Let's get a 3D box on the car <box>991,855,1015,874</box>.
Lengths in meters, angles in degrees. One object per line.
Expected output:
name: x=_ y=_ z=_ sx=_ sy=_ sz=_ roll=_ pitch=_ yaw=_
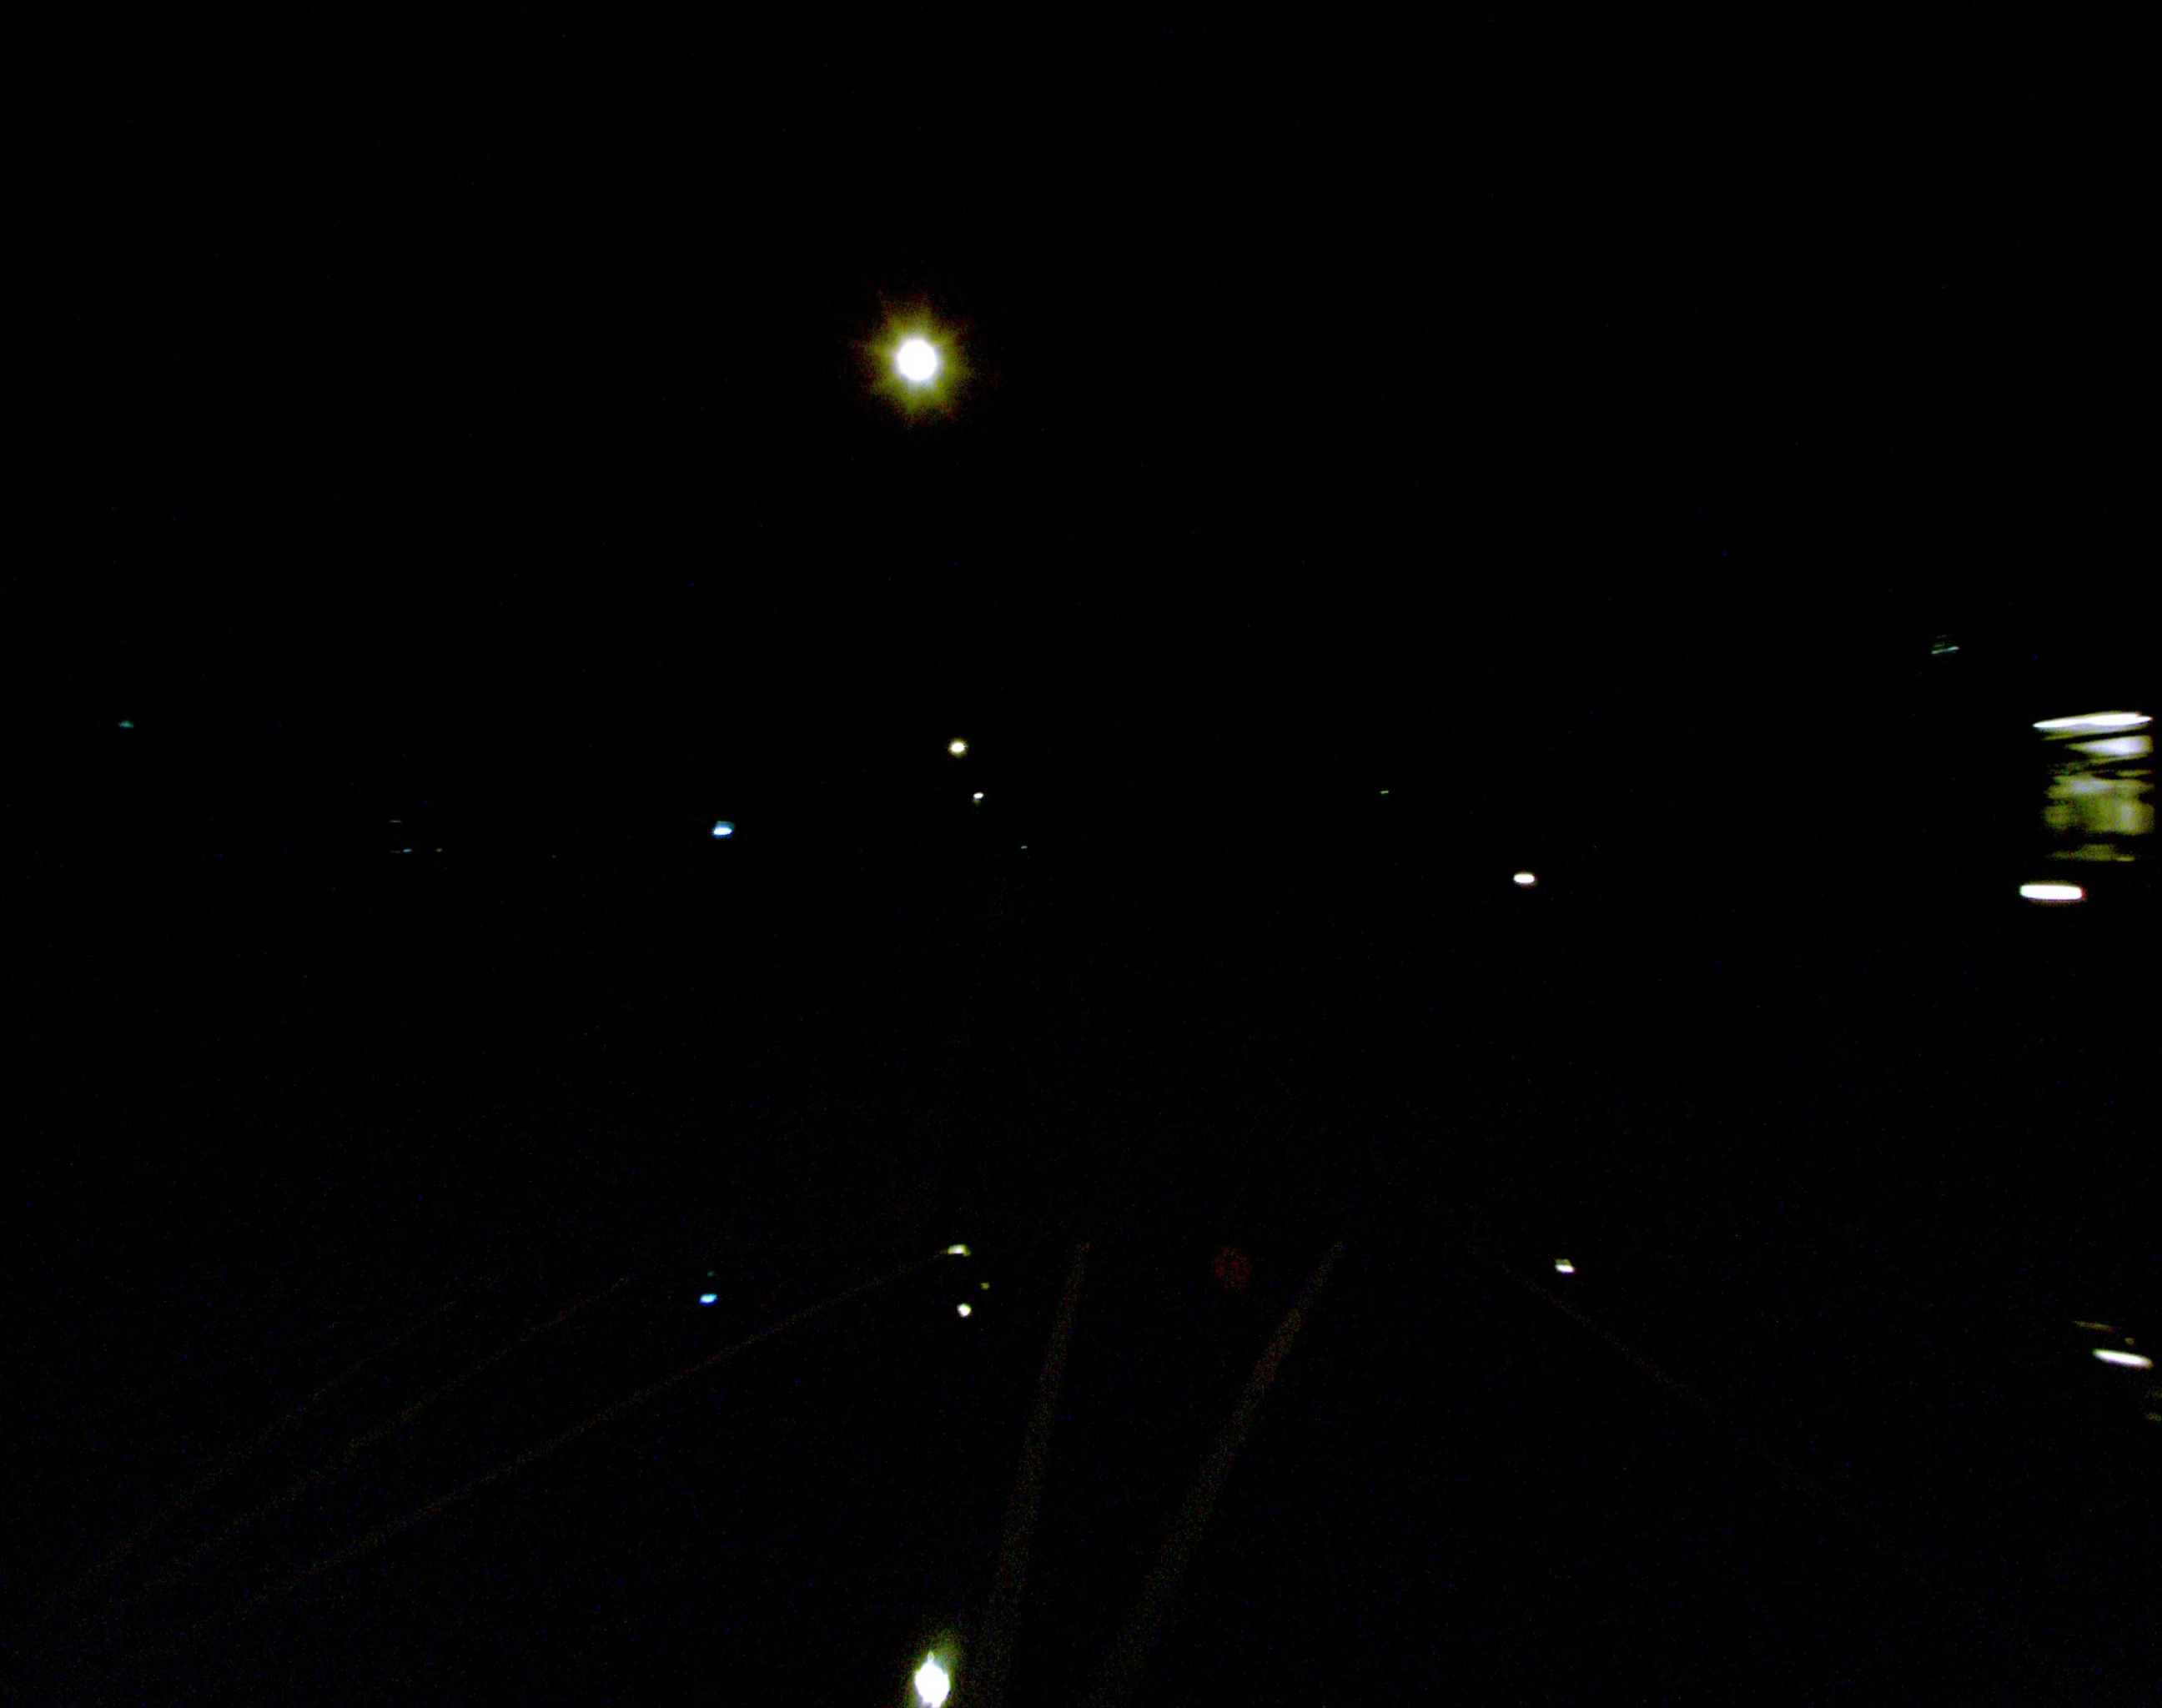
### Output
car: x=-8.652 y=1.181 z=84.630 sx=1.998 sy=1.638 sz=3.998 roll=5 pitch=4 yaw=2

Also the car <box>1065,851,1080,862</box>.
car: x=-1.199 y=0.380 z=107.551 sx=1.864 sy=1.484 sz=4.079 roll=-2 pitch=0 yaw=-3

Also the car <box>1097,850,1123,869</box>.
car: x=2.576 y=0.445 z=68.186 sx=1.807 sy=1.583 sz=3.998 roll=-2 pitch=0 yaw=-4

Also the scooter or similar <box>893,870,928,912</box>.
scooter or similar: x=-5.103 y=1.094 z=22.795 sx=0.468 sy=1.195 sz=1.137 roll=-2 pitch=-1 yaw=20

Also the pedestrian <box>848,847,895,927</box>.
pedestrian: x=-5.026 y=0.772 z=18.302 sx=0.820 sy=1.854 sz=1.033 roll=-2 pitch=1 yaw=-3

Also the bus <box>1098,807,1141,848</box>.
bus: x=6.751 y=-4.601 z=137.124 sx=6.137 sy=6.898 sz=14.777 roll=-2 pitch=0 yaw=-3
